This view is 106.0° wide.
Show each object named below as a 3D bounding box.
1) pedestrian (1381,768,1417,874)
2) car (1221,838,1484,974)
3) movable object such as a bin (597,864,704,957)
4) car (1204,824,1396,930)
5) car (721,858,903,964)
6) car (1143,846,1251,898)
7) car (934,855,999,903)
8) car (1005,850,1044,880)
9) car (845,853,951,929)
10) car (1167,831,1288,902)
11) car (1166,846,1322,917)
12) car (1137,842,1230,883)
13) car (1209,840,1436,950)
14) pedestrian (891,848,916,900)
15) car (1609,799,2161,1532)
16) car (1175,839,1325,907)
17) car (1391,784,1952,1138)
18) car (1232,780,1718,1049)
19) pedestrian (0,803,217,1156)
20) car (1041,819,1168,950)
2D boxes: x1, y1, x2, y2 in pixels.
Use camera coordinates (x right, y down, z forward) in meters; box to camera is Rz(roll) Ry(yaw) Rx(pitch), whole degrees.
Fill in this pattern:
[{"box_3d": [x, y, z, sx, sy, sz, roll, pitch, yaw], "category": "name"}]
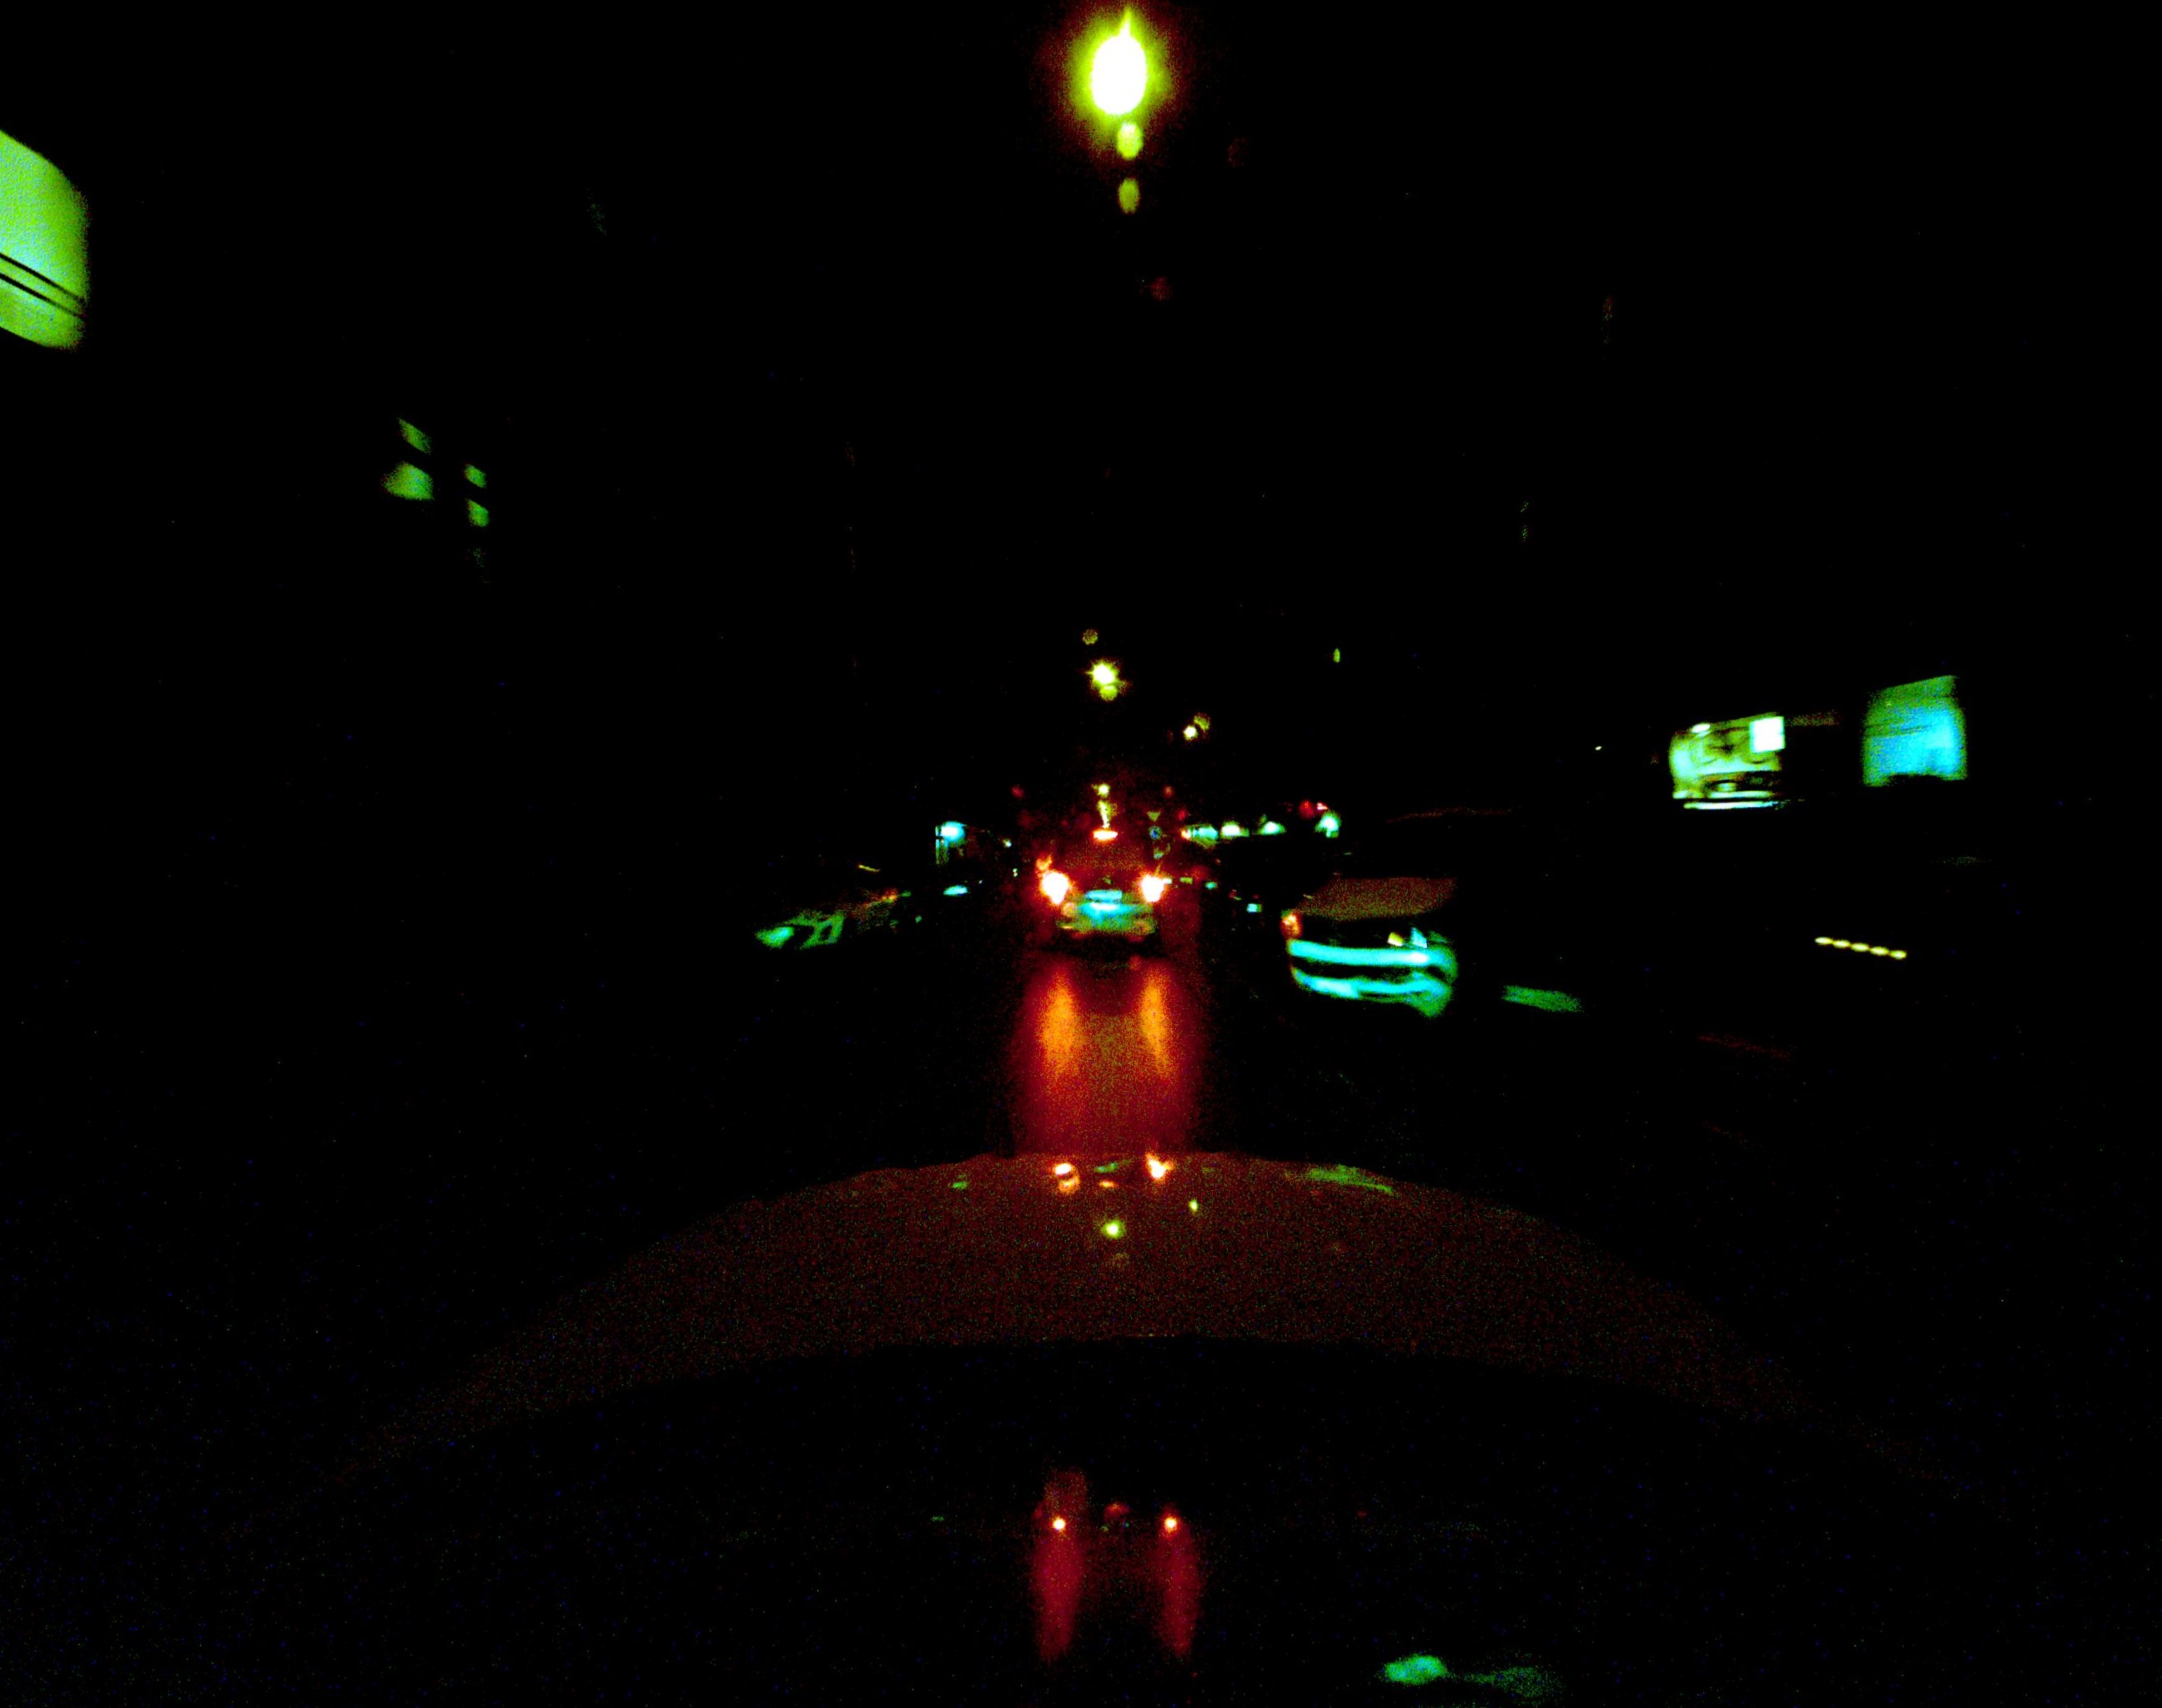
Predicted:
[{"box_3d": [10.737, -1.099, 27.538, 0.888, 3.528, 0.791, -1, 0, 1], "category": "pedestrian"}, {"box_3d": [3.810, 0.632, 11.306, 3.526, 1.494, 1.436, -3, 0, -30], "category": "car"}, {"box_3d": [-6.905, 0.876, 13.127, 1.043, 1.398, 1.159, 0, 0, 4], "category": "movable object such as a bin"}, {"box_3d": [4.540, 0.420, 16.729, 3.766, 1.840, 1.707, -3, 0, -35], "category": "car"}, {"box_3d": [-4.273, 0.835, 13.565, 1.580, 1.482, 3.796, -1, 0, 3], "category": "car"}, {"box_3d": [4.095, 0.607, 28.576, 3.581, 1.590, 1.588, -3, 0, -35], "category": "car"}, {"box_3d": [-3.980, 0.834, 28.771, 1.808, 1.557, 4.074, -1, 0, -2], "category": "car"}, {"box_3d": [-3.327, 0.620, 48.336, 1.876, 1.685, 4.002, -1, 0, 2], "category": "car"}, {"box_3d": [-4.149, 0.774, 19.081, 1.651, 1.557, 4.074, -1, 0, -2], "category": "car"}, {"box_3d": [4.620, 0.367, 25.550, 3.581, 1.990, 1.588, -3, 0, -35], "category": "car"}, {"box_3d": [4.045, 0.649, 20.079, 3.580, 1.453, 1.655, -3, 0, -34], "category": "car"}, {"box_3d": [4.732, 0.355, 37.314, 4.017, 1.761, 1.860, -1, 0, -35], "category": "car"}, {"box_3d": [4.105, 0.617, 13.701, 3.580, 1.484, 1.708, -3, 0, -34], "category": "car"}, {"box_3d": [-5.906, 0.647, 27.096, 0.698, 1.704, 0.539, -1, 0, 1], "category": "pedestrian"}, {"box_3d": [3.907, 0.560, 2.750, 4.009, 1.492, 1.719, -3, 0, -27], "category": "car"}, {"box_3d": [4.875, 0.508, 23.283, 4.017, 1.587, 1.861, -4, 0, -34], "category": "car"}, {"box_3d": [4.093, 0.482, 5.598, 3.574, 1.711, 1.631, -3, 0, -28], "category": "car"}, {"box_3d": [4.099, 0.411, 8.295, 4.813, 2.049, 2.047, -1, 0, -29], "category": "car"}, {"box_3d": [-5.650, 0.645, 4.618, 0.589, 1.820, 0.795, 1, 0, 2], "category": "pedestrian"}, {"box_3d": [0.444, 0.509, 14.990, 1.986, 2.050, 4.001, -1, -1, 2], "category": "car"}]
